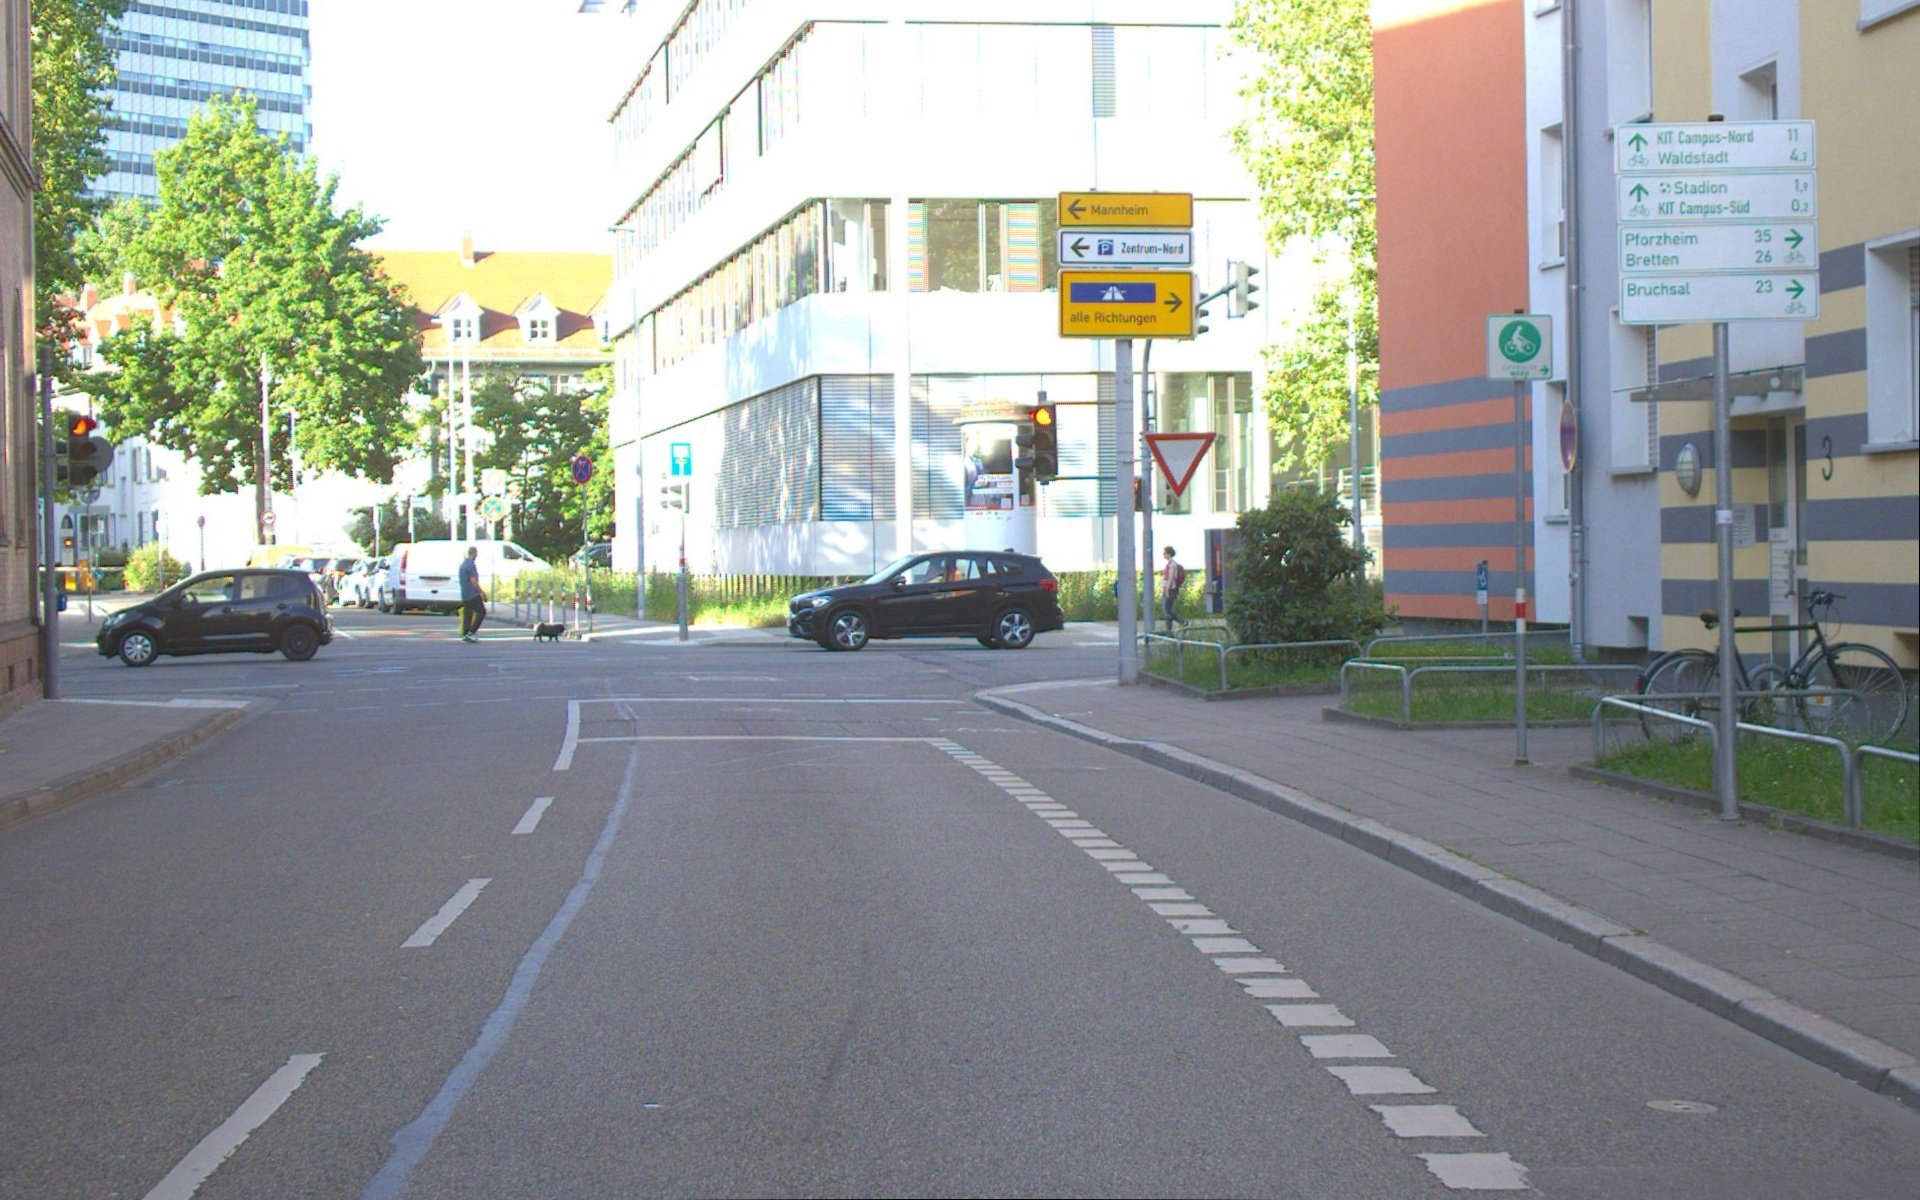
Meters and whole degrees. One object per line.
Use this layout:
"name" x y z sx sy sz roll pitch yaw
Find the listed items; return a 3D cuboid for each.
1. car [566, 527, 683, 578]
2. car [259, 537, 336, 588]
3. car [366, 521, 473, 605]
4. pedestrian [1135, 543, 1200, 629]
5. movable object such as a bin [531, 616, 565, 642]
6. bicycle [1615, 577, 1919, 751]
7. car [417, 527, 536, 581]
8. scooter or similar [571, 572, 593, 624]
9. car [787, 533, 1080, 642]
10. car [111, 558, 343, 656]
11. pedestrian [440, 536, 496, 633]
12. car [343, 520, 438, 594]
"car" -12.712 -1.795 130.130 3.986 1.876 1.936 1 0 -23
"car" -23.262 -1.320 120.618 2.329 1.727 5.007 1 0 -15
"car" -14.189 -0.950 89.985 2.423 2.105 5.233 1 0 -12
"pedestrian" 3.674 -0.253 60.981 0.926 1.510 0.848 1 0 -13
"movable object such as a bin" -7.774 0.549 64.940 0.589 0.479 0.286 -1 1 -16
"bicycle" 5.064 0.390 21.533 1.753 1.000 0.613 -2 0 -5
"car" -17.958 -1.709 127.743 3.986 1.909 1.920 1 0 -23
"scooter or similar" -7.904 -0.048 71.866 0.325 1.056 1.143 -1 1 -12
"car" -0.449 -0.218 55.222 4.364 1.627 2.001 -1 1 -12
"car" -11.333 0.089 53.147 3.428 1.441 1.775 -1 1 -13
"pedestrian" -9.062 -0.287 63.351 0.926 1.753 0.848 1 0 -13
"car" -16.880 -1.256 101.711 2.329 2.105 5.007 1 0 -15
